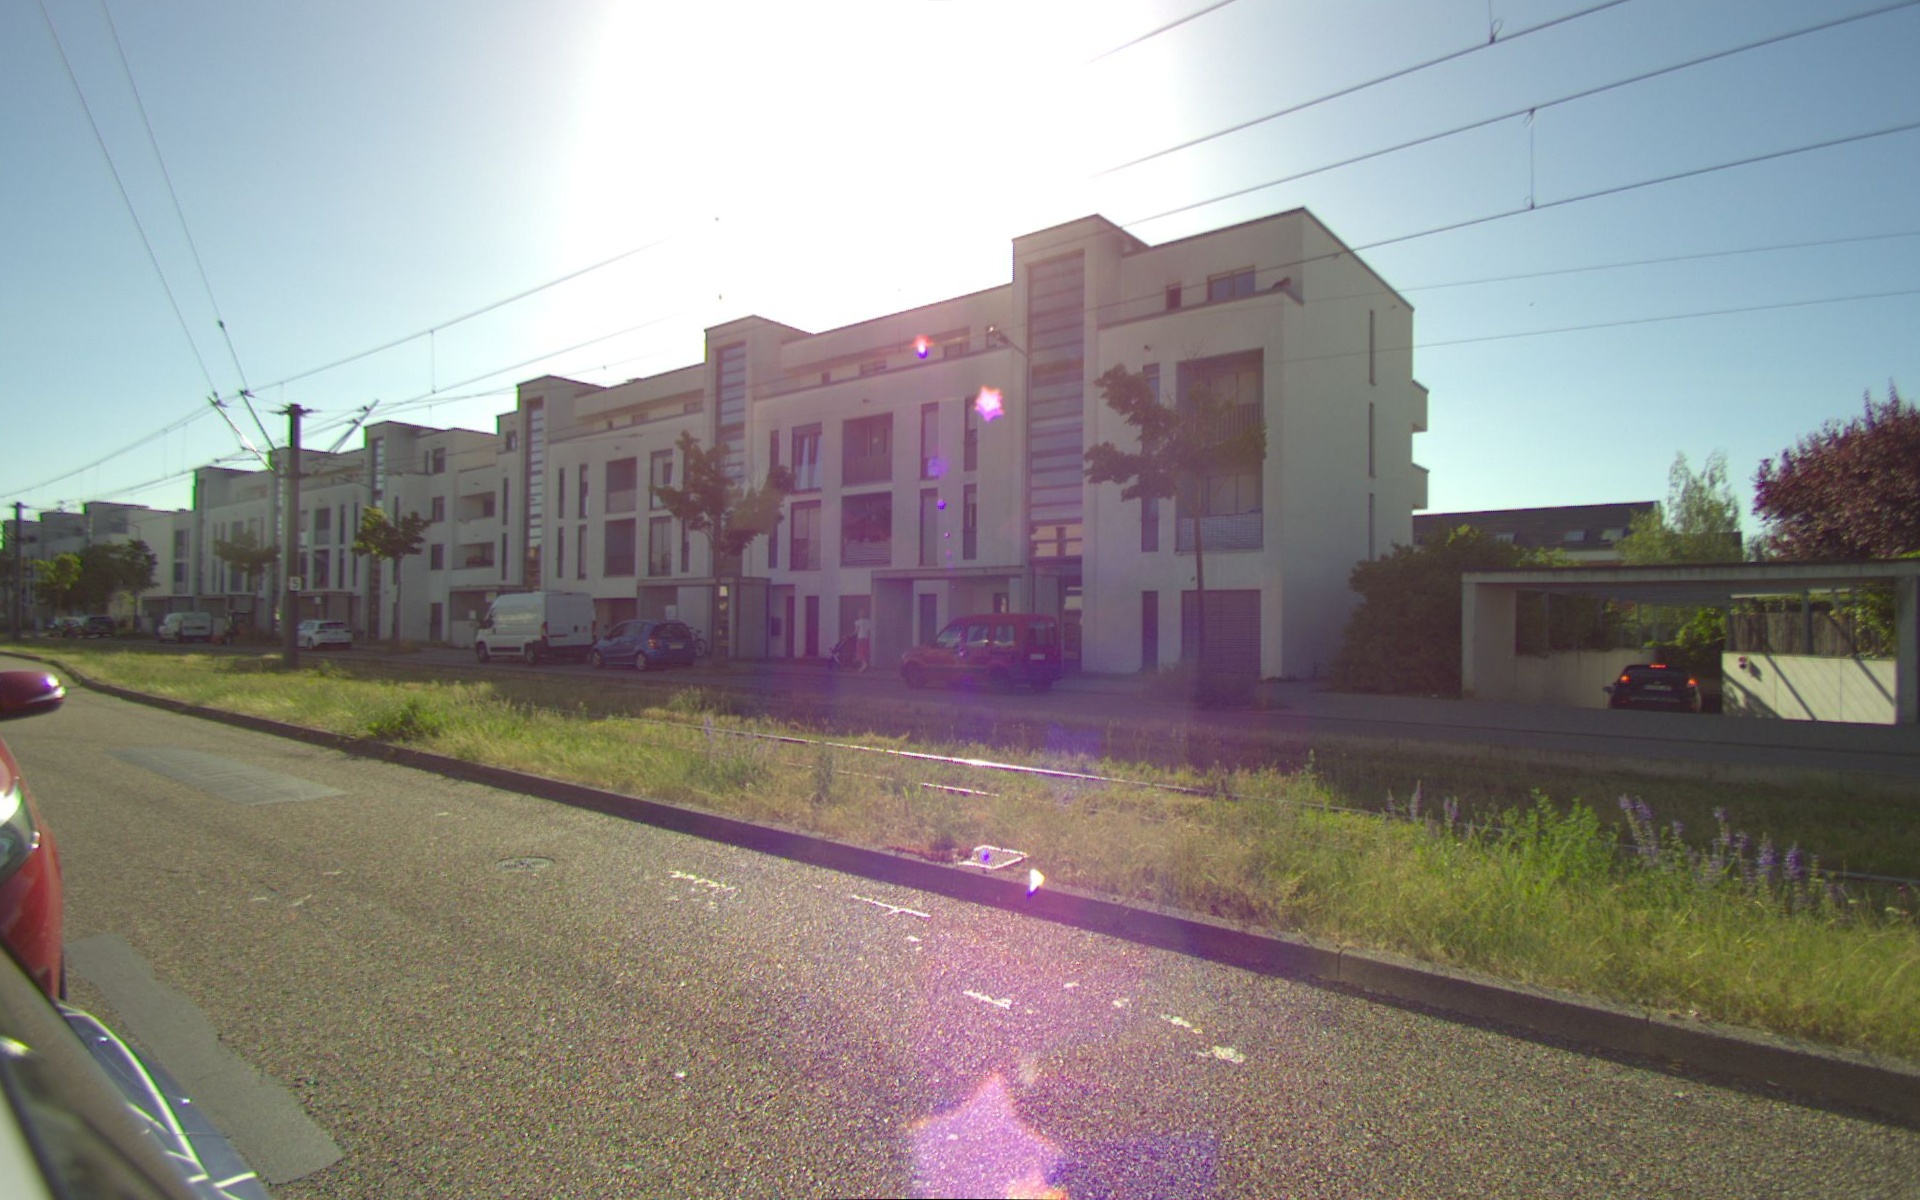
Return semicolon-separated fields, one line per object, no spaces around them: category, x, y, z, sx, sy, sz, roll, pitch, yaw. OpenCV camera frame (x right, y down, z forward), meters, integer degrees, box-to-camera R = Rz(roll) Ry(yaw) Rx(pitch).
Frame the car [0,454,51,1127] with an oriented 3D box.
car;-4.896;0.556;3.676;4.505;1.868;1.850;-1;0;41

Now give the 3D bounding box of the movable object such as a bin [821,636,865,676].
movable object such as a bin;-3.367;1.596;29.084;1.083;1.062;0.719;-1;0;42

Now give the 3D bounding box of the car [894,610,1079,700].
car;0.547;1.169;23.013;3.895;1.842;1.972;-1;0;43

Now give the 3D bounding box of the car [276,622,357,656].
car;-31.127;1.840;48.894;4.277;1.517;1.900;-1;0;37

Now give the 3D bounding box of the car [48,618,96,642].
car;-67.513;2.257;76.925;4.277;1.693;1.900;-1;0;37

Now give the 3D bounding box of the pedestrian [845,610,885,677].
pedestrian;-2.668;1.203;28.458;0.785;1.836;0.766;-1;0;41

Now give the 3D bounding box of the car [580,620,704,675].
car;-9.991;1.449;31.734;3.833;1.556;1.973;-1;0;40

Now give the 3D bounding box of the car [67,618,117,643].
car;-62.968;2.167;73.400;4.277;1.693;1.900;-1;0;37

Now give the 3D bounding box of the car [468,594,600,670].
car;-15.186;1.076;35.939;5.193;2.491;2.197;-1;0;40

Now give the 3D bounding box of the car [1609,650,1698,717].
car;16.445;2.011;23.941;1.574;1.337;3.950;-1;-7;37

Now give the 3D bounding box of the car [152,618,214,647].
car;-47.347;1.963;61.619;4.277;1.693;1.900;-1;0;37
